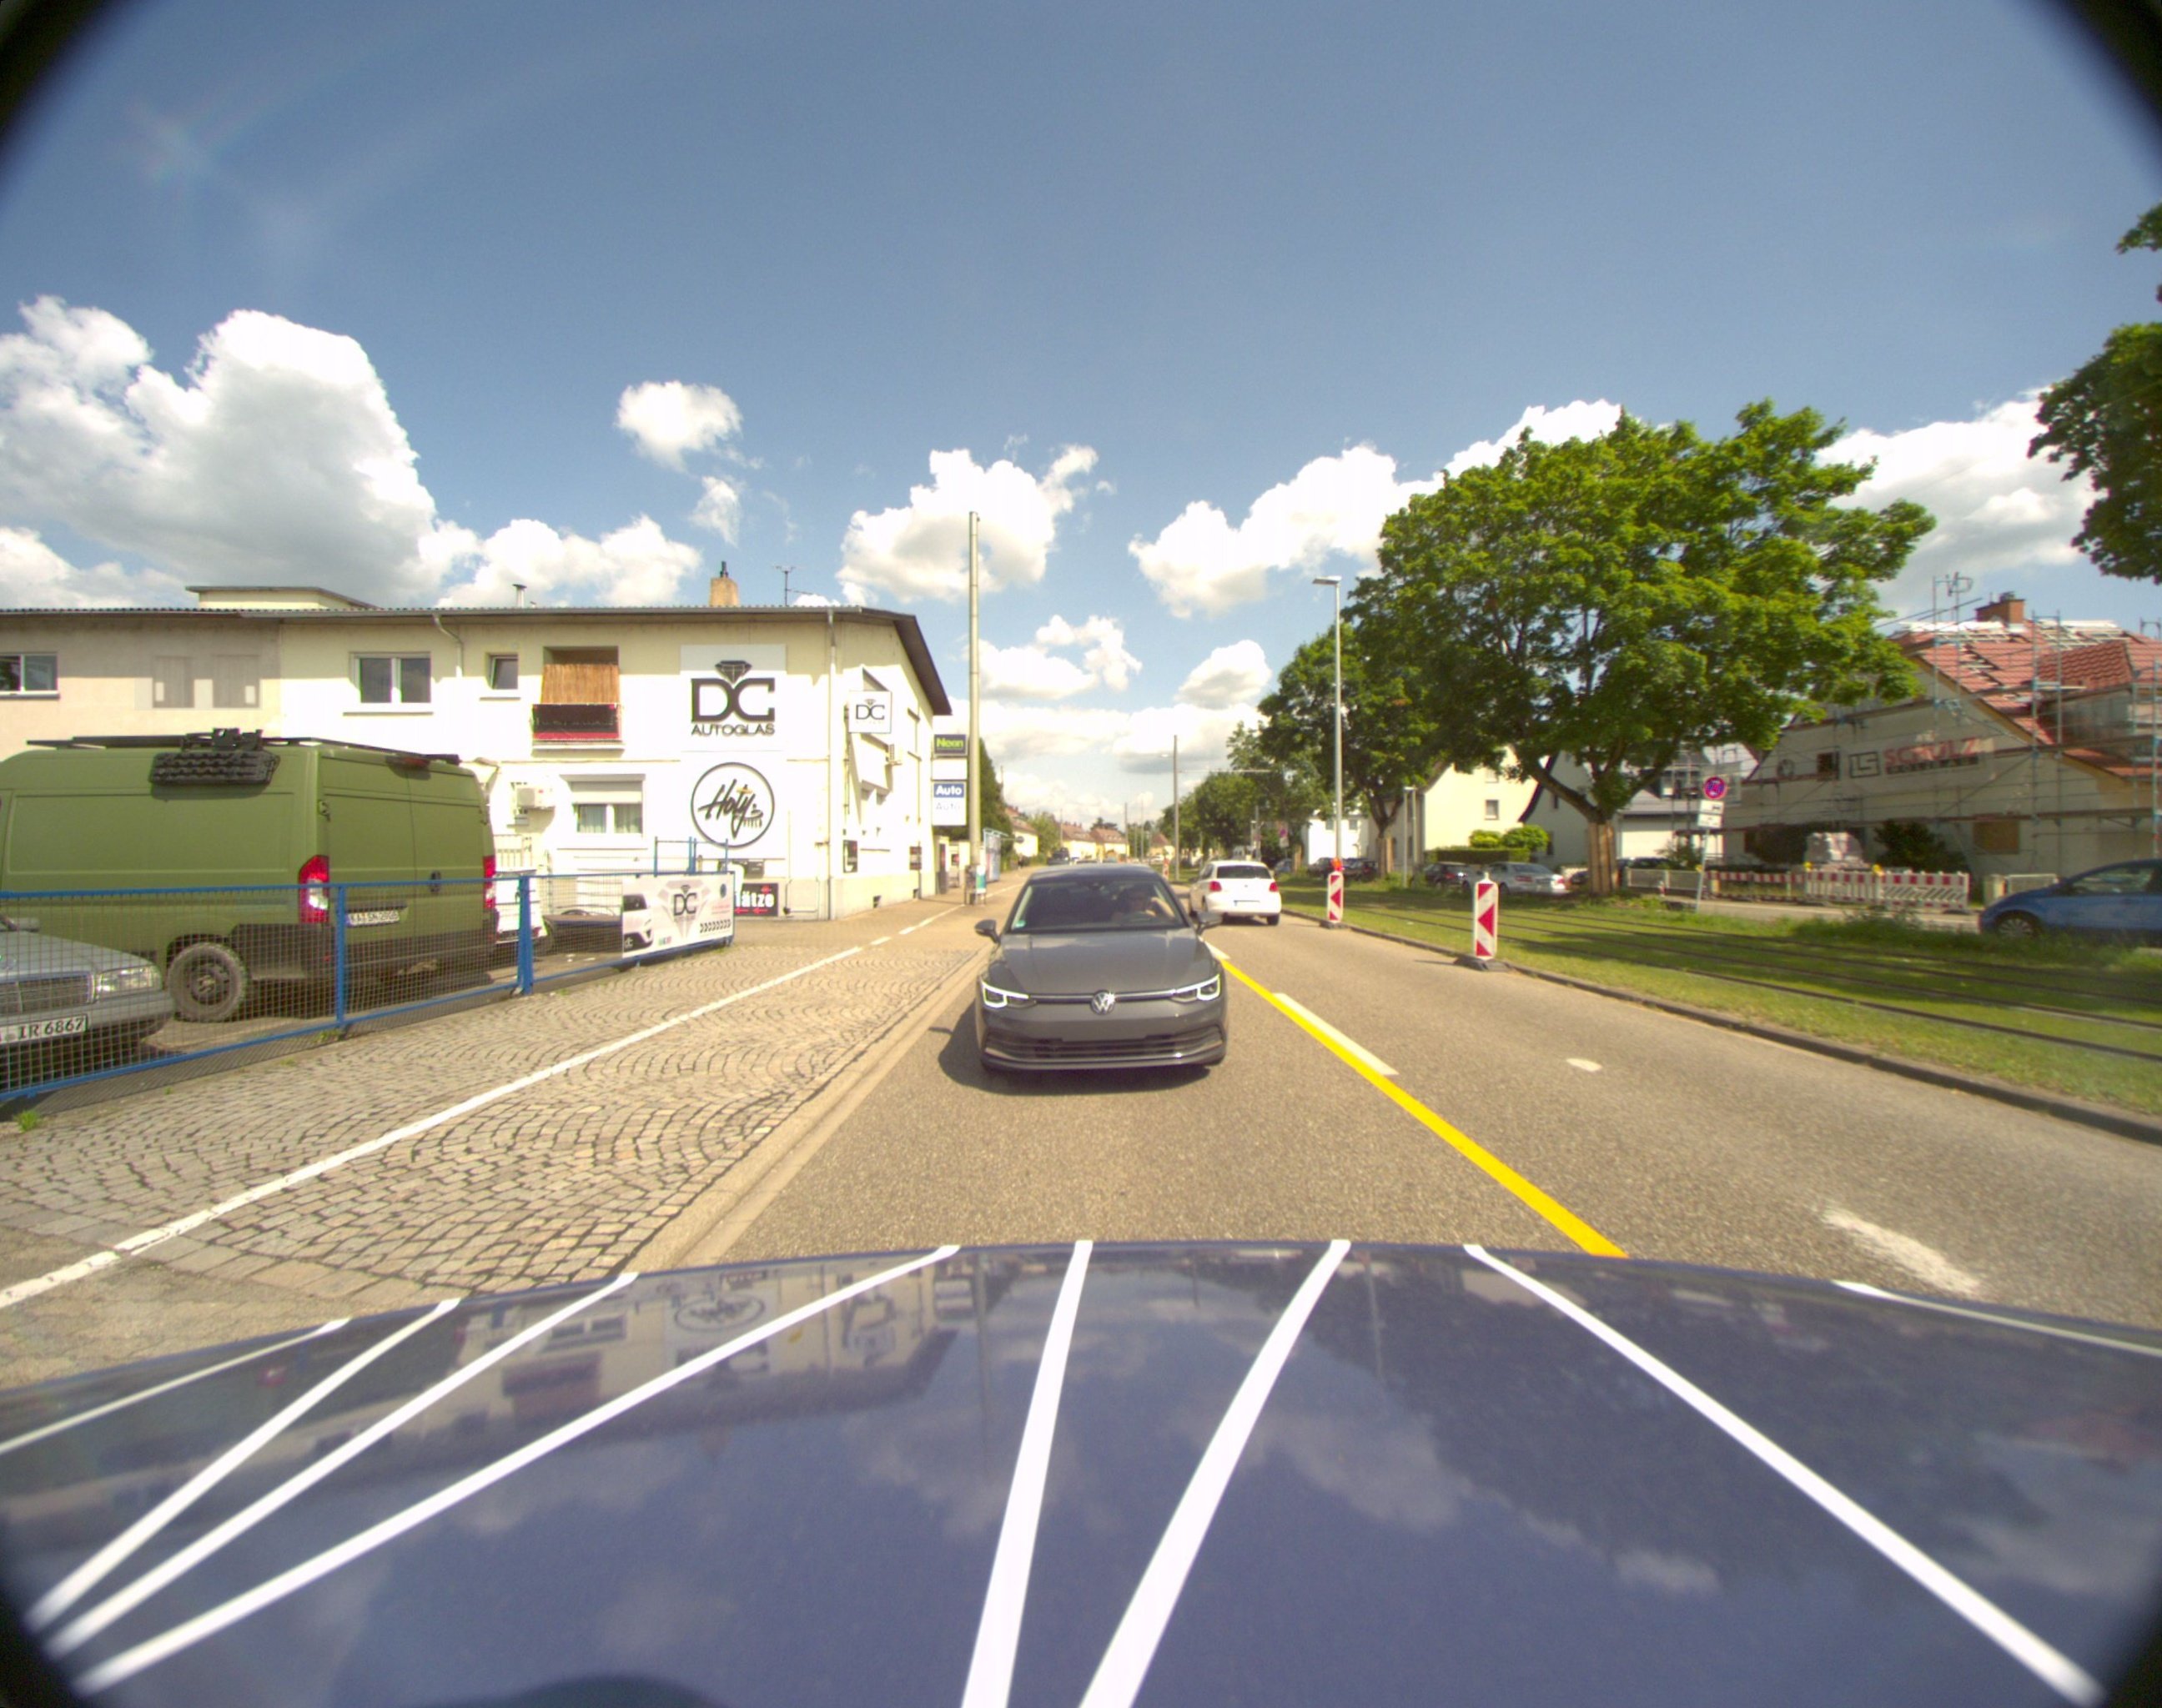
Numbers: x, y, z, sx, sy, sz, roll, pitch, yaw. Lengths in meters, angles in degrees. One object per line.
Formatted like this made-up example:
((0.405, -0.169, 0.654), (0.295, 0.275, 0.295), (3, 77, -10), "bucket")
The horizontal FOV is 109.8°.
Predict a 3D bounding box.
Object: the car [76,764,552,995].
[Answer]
((-9.464, 0.303, 9.657), (4.209, 2.653, 1.803), (0, 0, 0), "car")

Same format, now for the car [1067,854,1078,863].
((-1.389, 0.744, 122.965), (1.720, 1.470, 4.009), (0, 0, 0), "car")

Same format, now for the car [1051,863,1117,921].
((0.110, 1.014, 21.871), (1.719, 1.470, 4.009), (0, 0, 1), "car")

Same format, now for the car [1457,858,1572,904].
((16.377, 0.968, 29.016), (1.755, 1.602, 4.606), (0, 0, 0), "car")

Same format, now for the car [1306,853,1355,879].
((16.664, 0.768, 50.916), (1.755, 1.602, 4.606), (0, 0, 0), "car")

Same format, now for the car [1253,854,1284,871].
((17.567, 0.761, 71.505), (1.755, 1.602, 4.606), (0, 0, 0), "car")

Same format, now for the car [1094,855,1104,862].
((4.075, 1.002, 172.743), (1.718, 1.470, 4.011), (0, 0, 8), "car")

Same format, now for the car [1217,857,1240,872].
((16.913, 1.157, 87.279), (1.755, 1.602, 4.606), (0, 0, 0), "car")

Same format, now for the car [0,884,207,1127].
((-8.445, 0.920, 4.815), (4.206, 1.388, 1.804), (0, 0, 8), "car")

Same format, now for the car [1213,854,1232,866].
((19.937, 0.825, 107.182), (1.755, 1.602, 4.606), (0, 0, 0), "car")

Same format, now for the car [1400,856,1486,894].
((16.577, 0.920, 35.039), (1.755, 1.602, 4.606), (0, 0, 0), "car")

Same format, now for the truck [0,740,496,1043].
((-8.632, 0.330, 7.572), (3.997, 2.592, 2.069), (0, 0, 1), "truck")

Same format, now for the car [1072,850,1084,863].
((-0.454, 0.405, 136.329), (1.719, 2.360, 5.211), (0, 0, 5), "car")

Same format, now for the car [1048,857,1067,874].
((-2.178, 1.070, 70.993), (1.720, 1.470, 4.009), (0, 0, 0), "car")

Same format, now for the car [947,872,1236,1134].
((0.090, 0.940, 6.538), (1.719, 1.470, 4.009), (0, 0, 1), "car")

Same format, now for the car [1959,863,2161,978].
((16.214, 0.961, 11.241), (1.755, 1.602, 4.050), (0, 0, 0), "car")

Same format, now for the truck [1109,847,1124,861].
((9.372, 0.030, 201.143), (2.590, 3.431, 8.585), (0, 0, 11), "truck")

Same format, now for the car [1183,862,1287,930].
((3.600, 0.926, 18.459), (1.719, 1.405, 4.262), (0, 0, 1), "car")

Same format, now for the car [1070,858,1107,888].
((0.388, 0.926, 38.849), (1.787, 1.470, 4.009), (0, 0, 1), "car")

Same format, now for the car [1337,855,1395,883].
((16.887, 0.855, 45.277), (1.755, 1.602, 4.606), (0, 0, 0), "car")

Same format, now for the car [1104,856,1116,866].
((4.349, 1.056, 114.205), (1.755, 1.405, 4.262), (0, 0, 3), "car")

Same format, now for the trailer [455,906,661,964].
((-8.072, 1.240, 11.842), (2.329, 0.762, 1.269), (0, 0, 2), "trailer")

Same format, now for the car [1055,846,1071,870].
((-1.937, 0.415, 82.855), (1.720, 2.526, 5.794), (0, 0, 0), "car")

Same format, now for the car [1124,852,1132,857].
((13.495, 0.244, 218.486), (1.718, 1.470, 4.013), (0, 0, 13), "car")

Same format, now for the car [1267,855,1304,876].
((16.479, 0.921, 61.365), (1.755, 1.602, 4.606), (0, 0, 0), "car")

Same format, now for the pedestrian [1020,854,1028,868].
((-6.387, 0.758, 85.387), (0.816, 1.577, 0.918), (0, 0, 1), "pedestrian")

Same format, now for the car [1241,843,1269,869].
((17.627, 0.202, 77.114), (1.755, 2.601, 4.606), (0, 0, 0), "car")

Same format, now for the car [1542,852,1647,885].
((25.499, 0.725, 37.843), (4.047, 1.602, 1.757), (0, 0, 1), "car")
